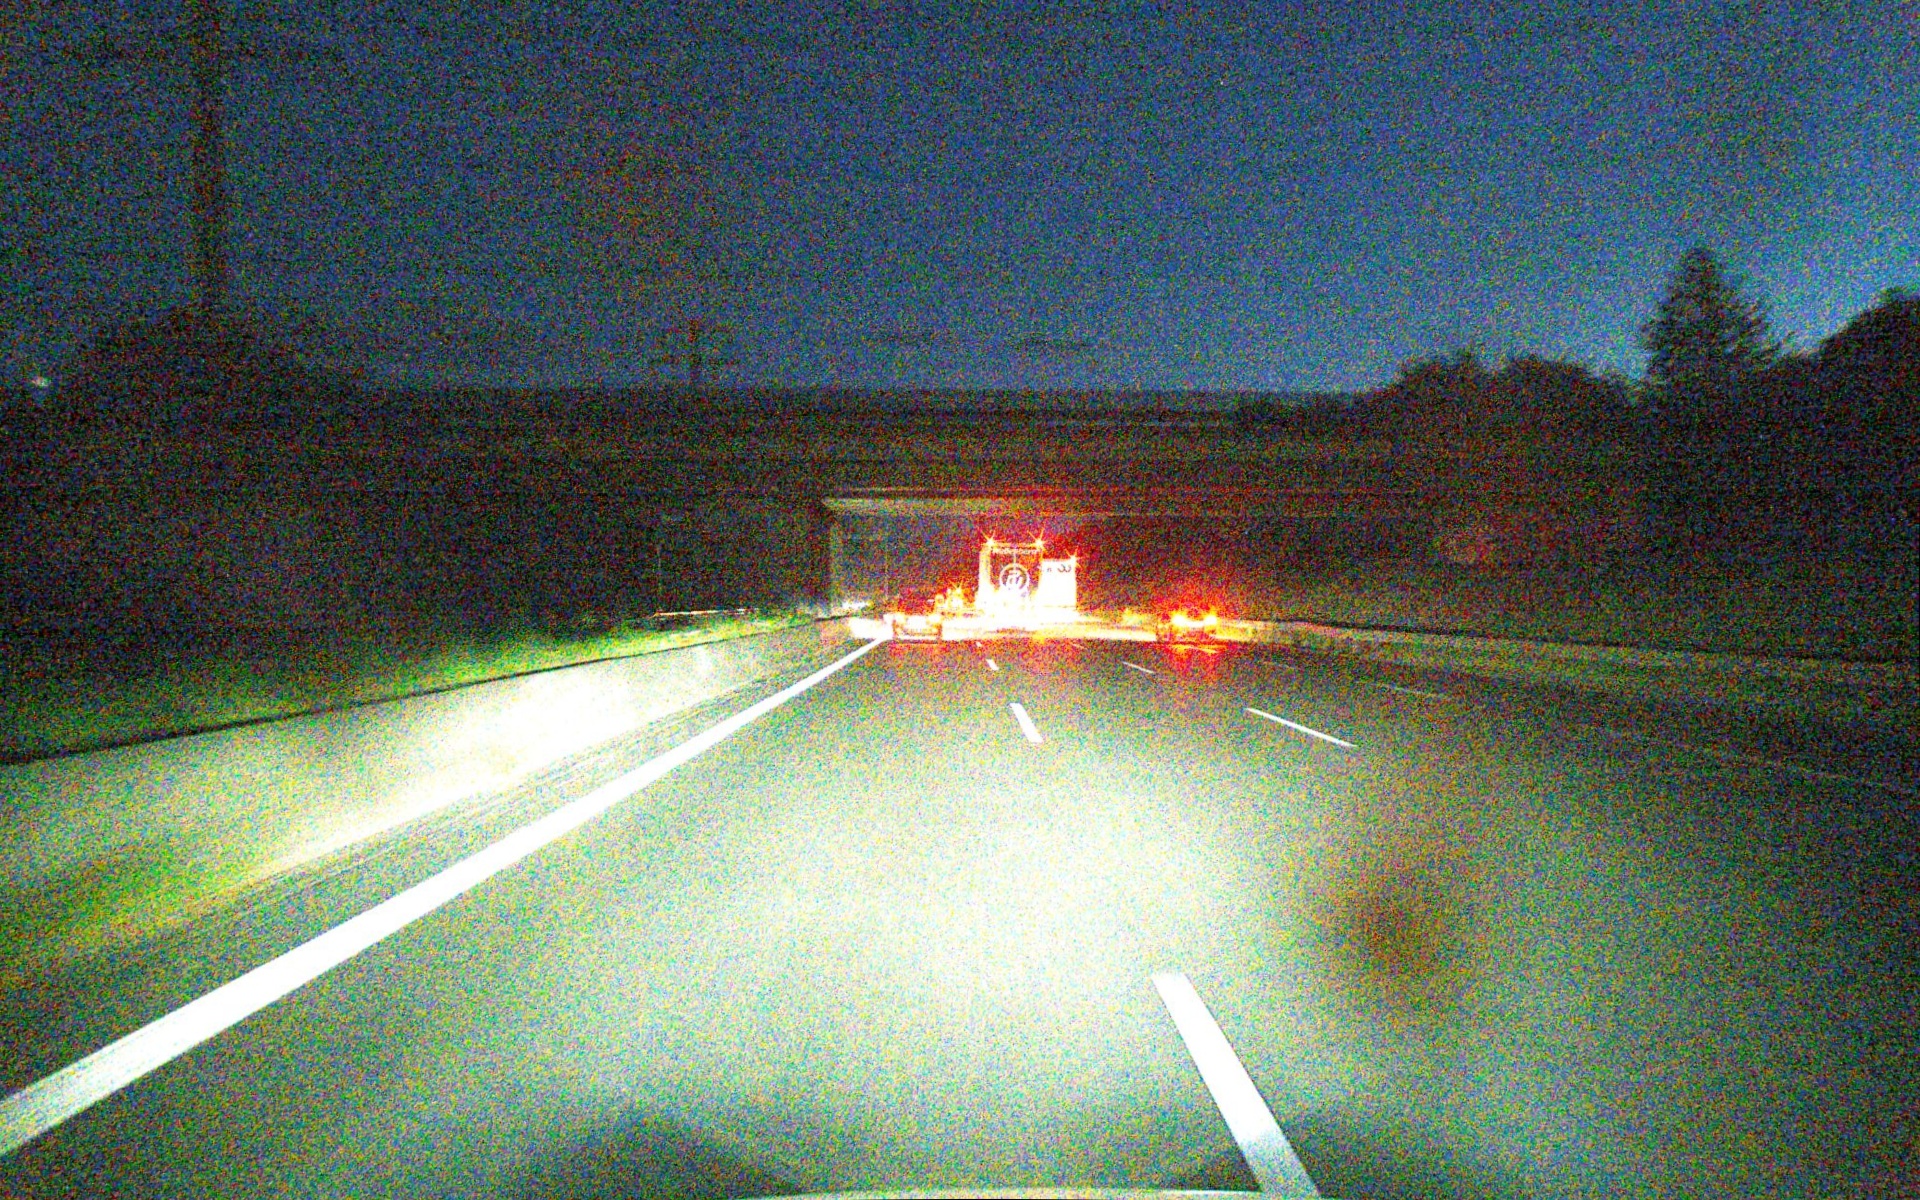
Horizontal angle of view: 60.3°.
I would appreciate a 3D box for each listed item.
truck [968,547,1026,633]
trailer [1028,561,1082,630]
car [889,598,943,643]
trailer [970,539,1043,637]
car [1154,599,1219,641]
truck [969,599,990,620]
[{"bbox_3d":[1.894,-0.476,86.765,2.608,4.280,6.720,1,0,-2],"label":"truck"},{"bbox_3d":[6.031,-0.266,106.400,2.539,4.144,10.004,1,0,-2],"label":"trailer"},{"bbox_3d":[-1.579,0.689,58.054,1.784,1.492,4.245,1,0,-2],"label":"car"},{"bbox_3d":[2.107,-0.505,80.136,2.687,4.280,13.505,1,0,-2],"label":"trailer"},{"bbox_3d":[8.470,0.731,62.121,1.784,1.492,4.246,1,0,-1],"label":"car"},{"bbox_3d":[2.578,1.297,220.894,2.036,2.738,7.301,1,0,-4],"label":"truck"}]
